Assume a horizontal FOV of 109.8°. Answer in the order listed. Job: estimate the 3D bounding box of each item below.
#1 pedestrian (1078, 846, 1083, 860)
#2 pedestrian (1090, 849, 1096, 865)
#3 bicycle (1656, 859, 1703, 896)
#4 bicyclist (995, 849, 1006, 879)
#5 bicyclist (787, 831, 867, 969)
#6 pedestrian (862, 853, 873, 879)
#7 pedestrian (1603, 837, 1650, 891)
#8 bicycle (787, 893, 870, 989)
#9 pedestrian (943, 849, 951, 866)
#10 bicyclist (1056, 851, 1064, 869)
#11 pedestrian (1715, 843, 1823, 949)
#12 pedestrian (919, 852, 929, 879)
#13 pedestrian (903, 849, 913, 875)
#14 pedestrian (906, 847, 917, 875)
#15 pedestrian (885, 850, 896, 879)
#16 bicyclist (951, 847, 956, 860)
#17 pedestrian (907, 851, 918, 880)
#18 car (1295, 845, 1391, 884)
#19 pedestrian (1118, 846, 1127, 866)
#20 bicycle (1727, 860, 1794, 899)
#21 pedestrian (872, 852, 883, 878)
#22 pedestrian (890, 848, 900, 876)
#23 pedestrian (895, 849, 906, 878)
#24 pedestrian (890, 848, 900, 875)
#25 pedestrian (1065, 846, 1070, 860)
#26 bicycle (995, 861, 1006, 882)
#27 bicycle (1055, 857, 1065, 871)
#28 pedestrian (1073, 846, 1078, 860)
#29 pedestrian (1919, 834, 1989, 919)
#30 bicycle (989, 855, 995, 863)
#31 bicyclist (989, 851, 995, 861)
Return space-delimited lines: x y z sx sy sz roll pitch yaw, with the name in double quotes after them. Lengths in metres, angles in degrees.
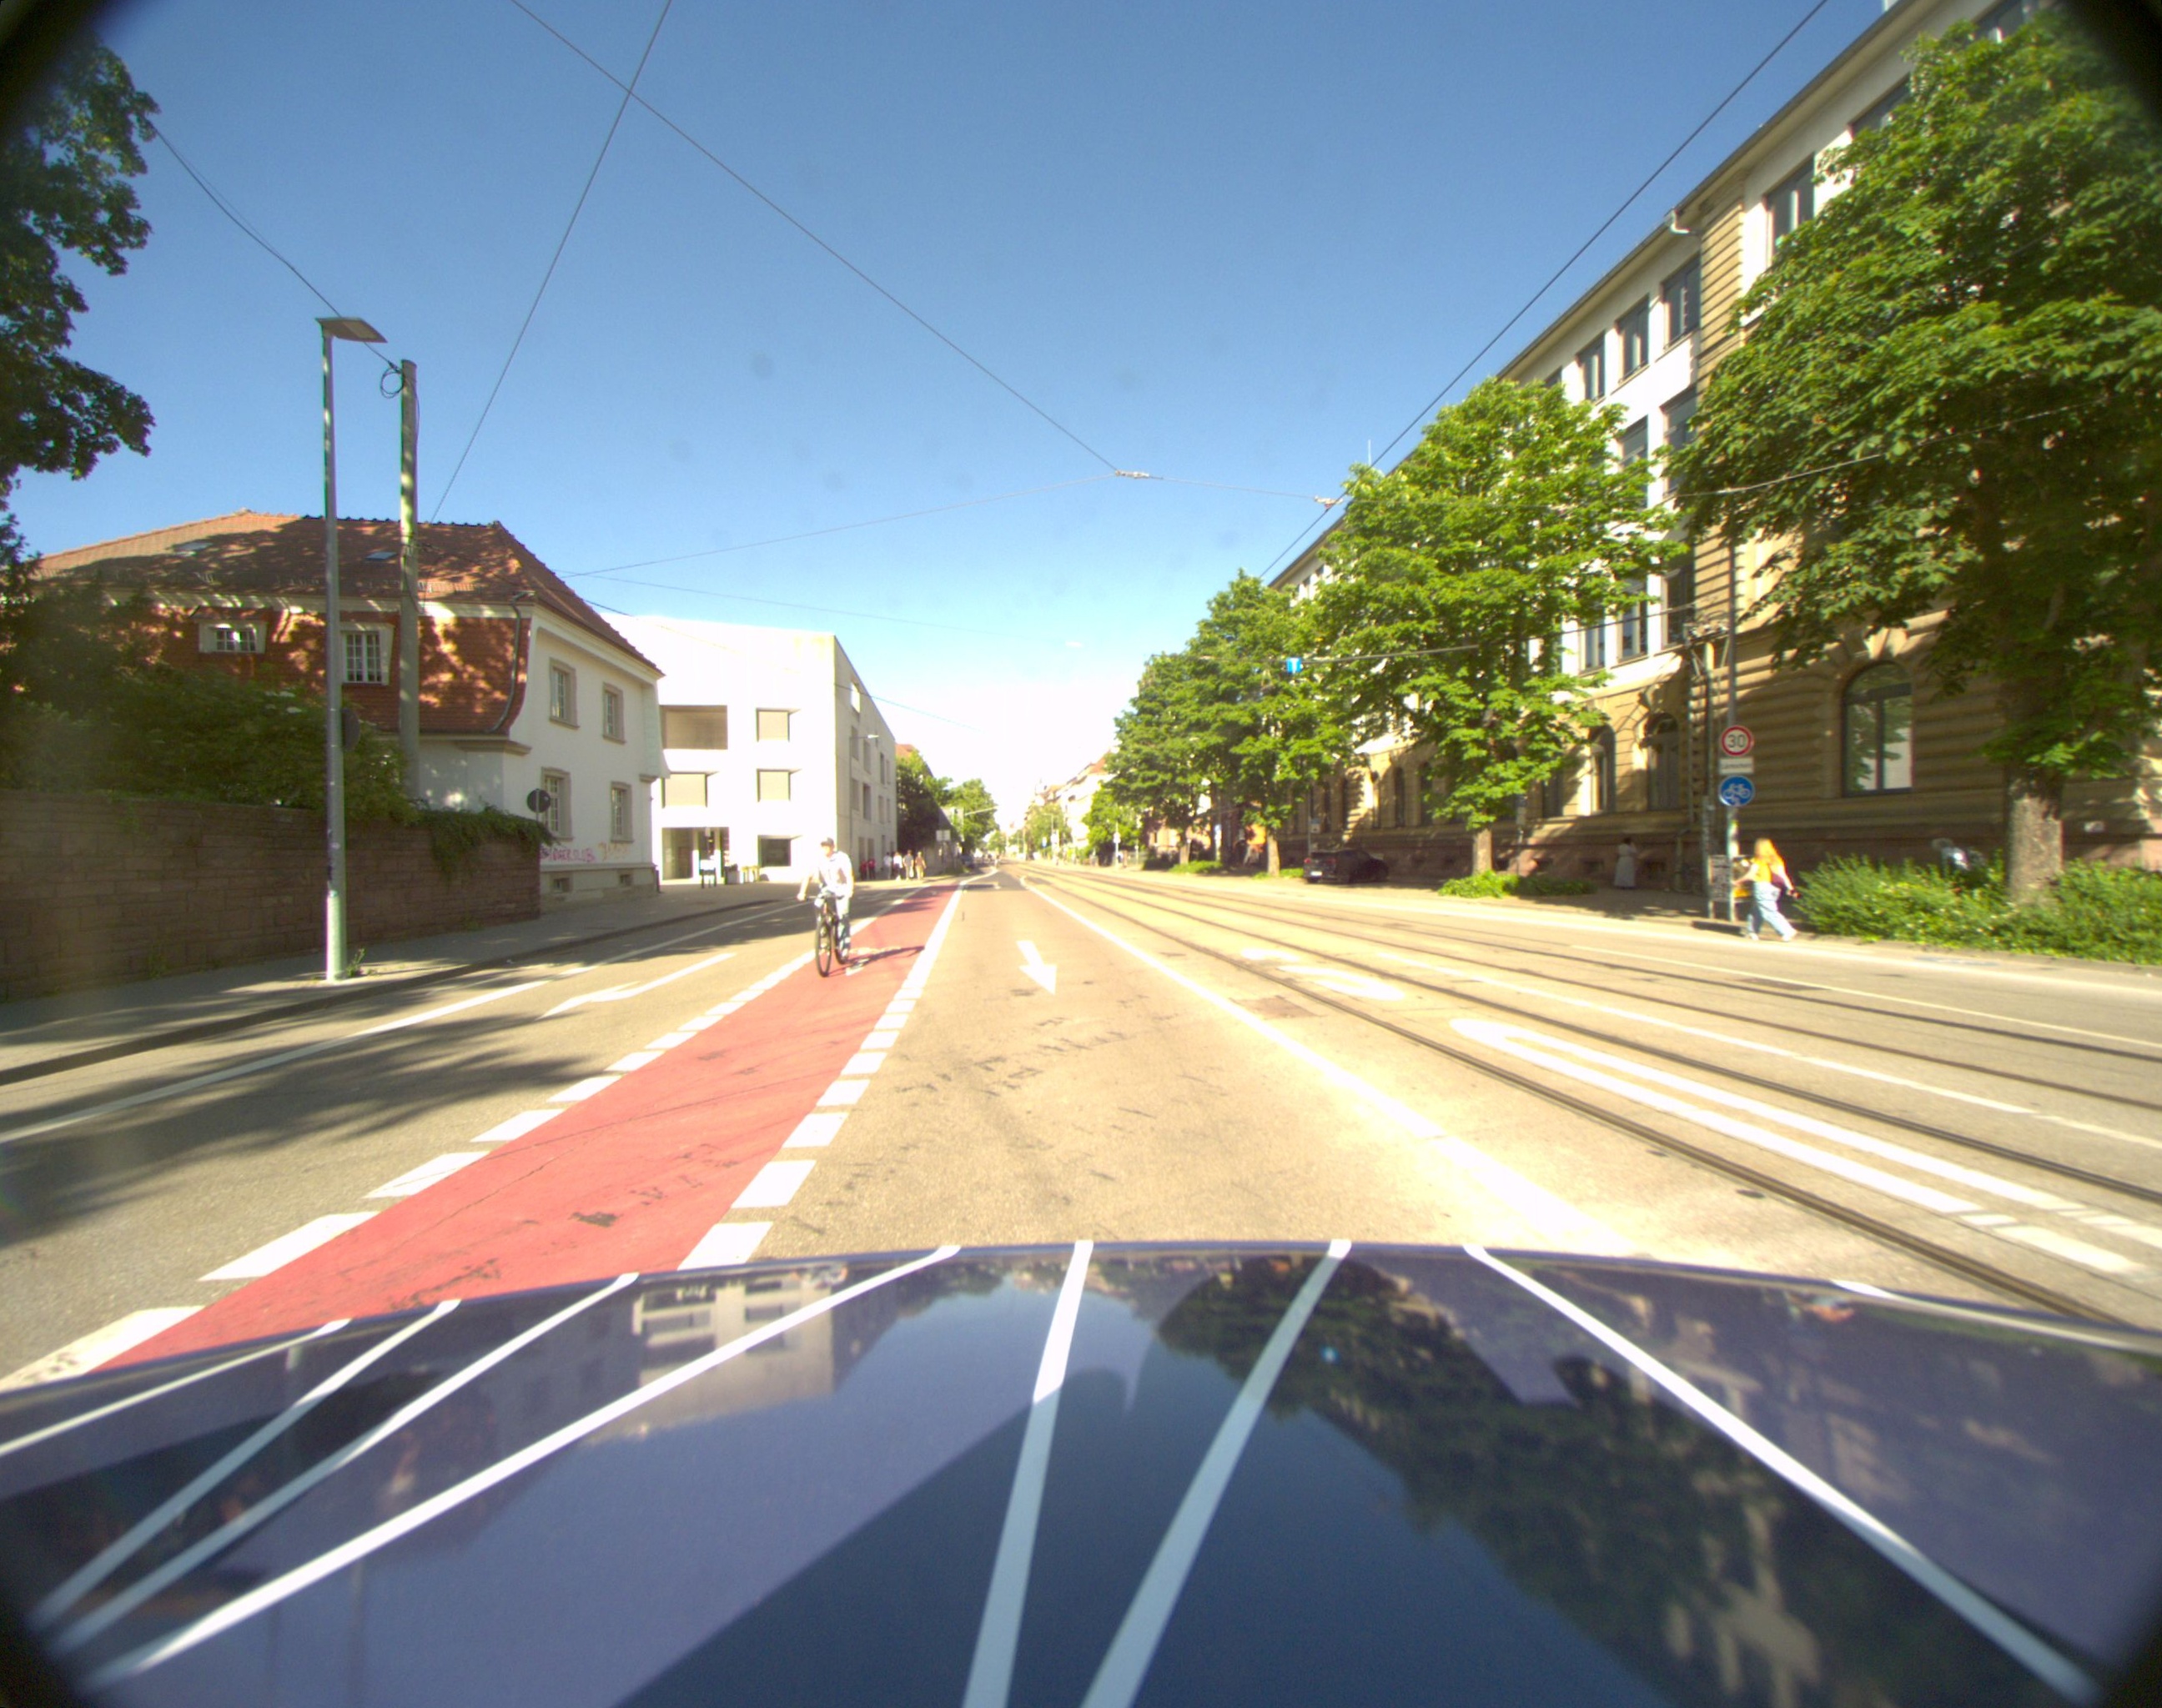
-0.045 -0.163 102.948 0.579 1.845 0.684 -1 1 -6 "pedestrian"
1.375 0.379 88.815 0.579 1.845 0.653 -1 1 -6 "pedestrian"
16.445 0.640 20.907 0.343 0.951 1.101 -2 2 -5 "bicycle"
-8.127 1.048 77.010 1.004 2.959 1.473 -2 2 -6 "bicyclist"
-3.447 0.594 10.398 0.751 1.765 1.013 -2 1 -4 "bicyclist"
-12.913 0.705 45.926 0.534 1.557 0.520 -1 1 -8 "pedestrian"
16.700 0.304 23.267 0.858 1.558 0.672 -5 2 -2 "pedestrian"
-3.402 1.137 10.396 0.612 1.071 1.829 -2 1 -4 "bicycle"
-13.520 0.320 76.783 0.679 1.728 0.931 -1 1 -5 "pedestrian"
-2.744 0.727 98.906 1.003 2.255 1.020 -2 2 -4 "bicyclist"
11.271 0.653 12.489 0.772 1.660 1.033 0 1 -7 "pedestrian"
-9.893 0.731 47.848 0.588 1.717 0.520 -1 1 -8 "pedestrian"
-11.810 0.528 51.771 0.588 1.795 0.545 -1 1 -8 "pedestrian"
-11.136 0.460 49.960 0.588 1.795 0.582 -1 1 -8 "pedestrian"
-11.929 0.628 47.505 0.588 1.795 0.545 -1 1 -8 "pedestrian"
-23.139 -0.122 137.687 0.813 2.194 0.984 -2 2 -5 "bicyclist"
-10.538 0.691 47.542 0.588 1.795 0.520 -1 1 -8 "pedestrian"
11.563 0.428 33.444 4.117 1.565 1.916 -1 1 -34 "car"
3.914 0.199 72.255 0.728 1.845 0.654 -1 1 -5 "pedestrian"
17.168 0.628 19.218 0.398 0.898 1.360 -2 2 -5 "bicycle"
-12.310 0.686 46.019 0.534 1.557 0.520 -1 1 -8 "pedestrian"
-12.070 0.501 49.301 0.588 1.795 0.582 -1 1 -8 "pedestrian"
-11.260 0.609 47.529 0.588 1.795 0.545 -1 1 -8 "pedestrian"
-12.602 0.488 51.589 0.588 1.795 0.545 -1 1 -8 "pedestrian"
-1.858 -0.099 102.955 0.579 1.845 0.684 -1 1 -6 "pedestrian"
-8.117 1.730 76.955 1.004 1.876 3.891 -2 2 -5 "bicycle"
-2.730 1.270 98.970 1.003 1.672 2.982 -2 2 -4 "bicycle"
-0.704 -0.137 102.830 0.579 1.845 0.684 -1 1 -6 "pedestrian"
16.409 0.406 14.292 0.579 1.553 0.653 -1 1 -7 "pedestrian"
-12.705 0.698 108.682 0.665 1.146 1.671 -2 2 -3 "bicycle"
-12.718 0.282 108.673 0.665 1.453 0.622 -2 2 -3 "bicyclist"
